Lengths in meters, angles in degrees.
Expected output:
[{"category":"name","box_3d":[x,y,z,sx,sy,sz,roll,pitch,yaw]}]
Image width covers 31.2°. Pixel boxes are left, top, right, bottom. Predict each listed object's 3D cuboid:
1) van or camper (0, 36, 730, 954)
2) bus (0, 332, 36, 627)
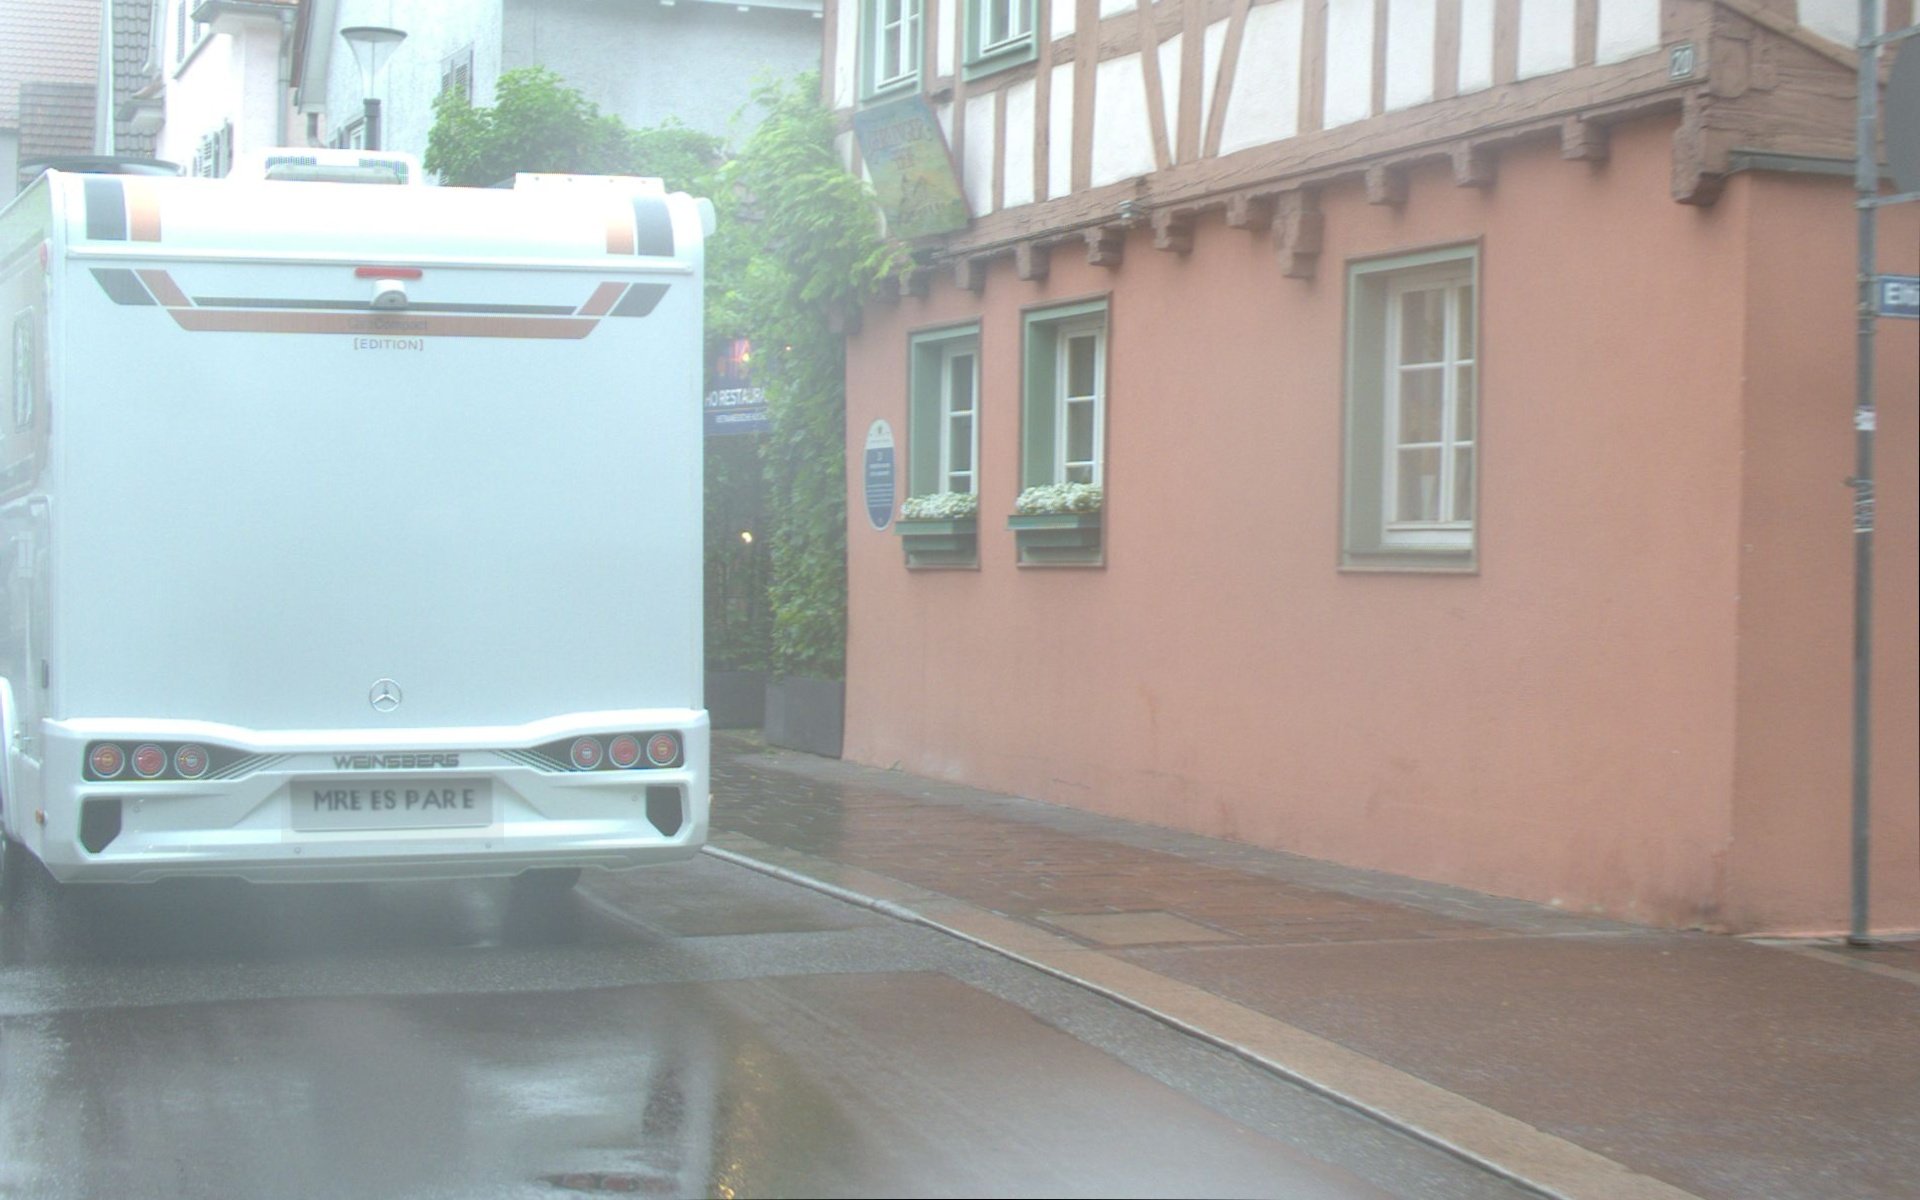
[{"category":"van or camper","box_3d":[-2.960,-0.346,14.299,2.325,2.909,6.395,1,0,-20]},{"category":"bus","box_3d":[-12.534,-1.346,40.194,2.640,3.216,6.604,1,0,-21]}]
